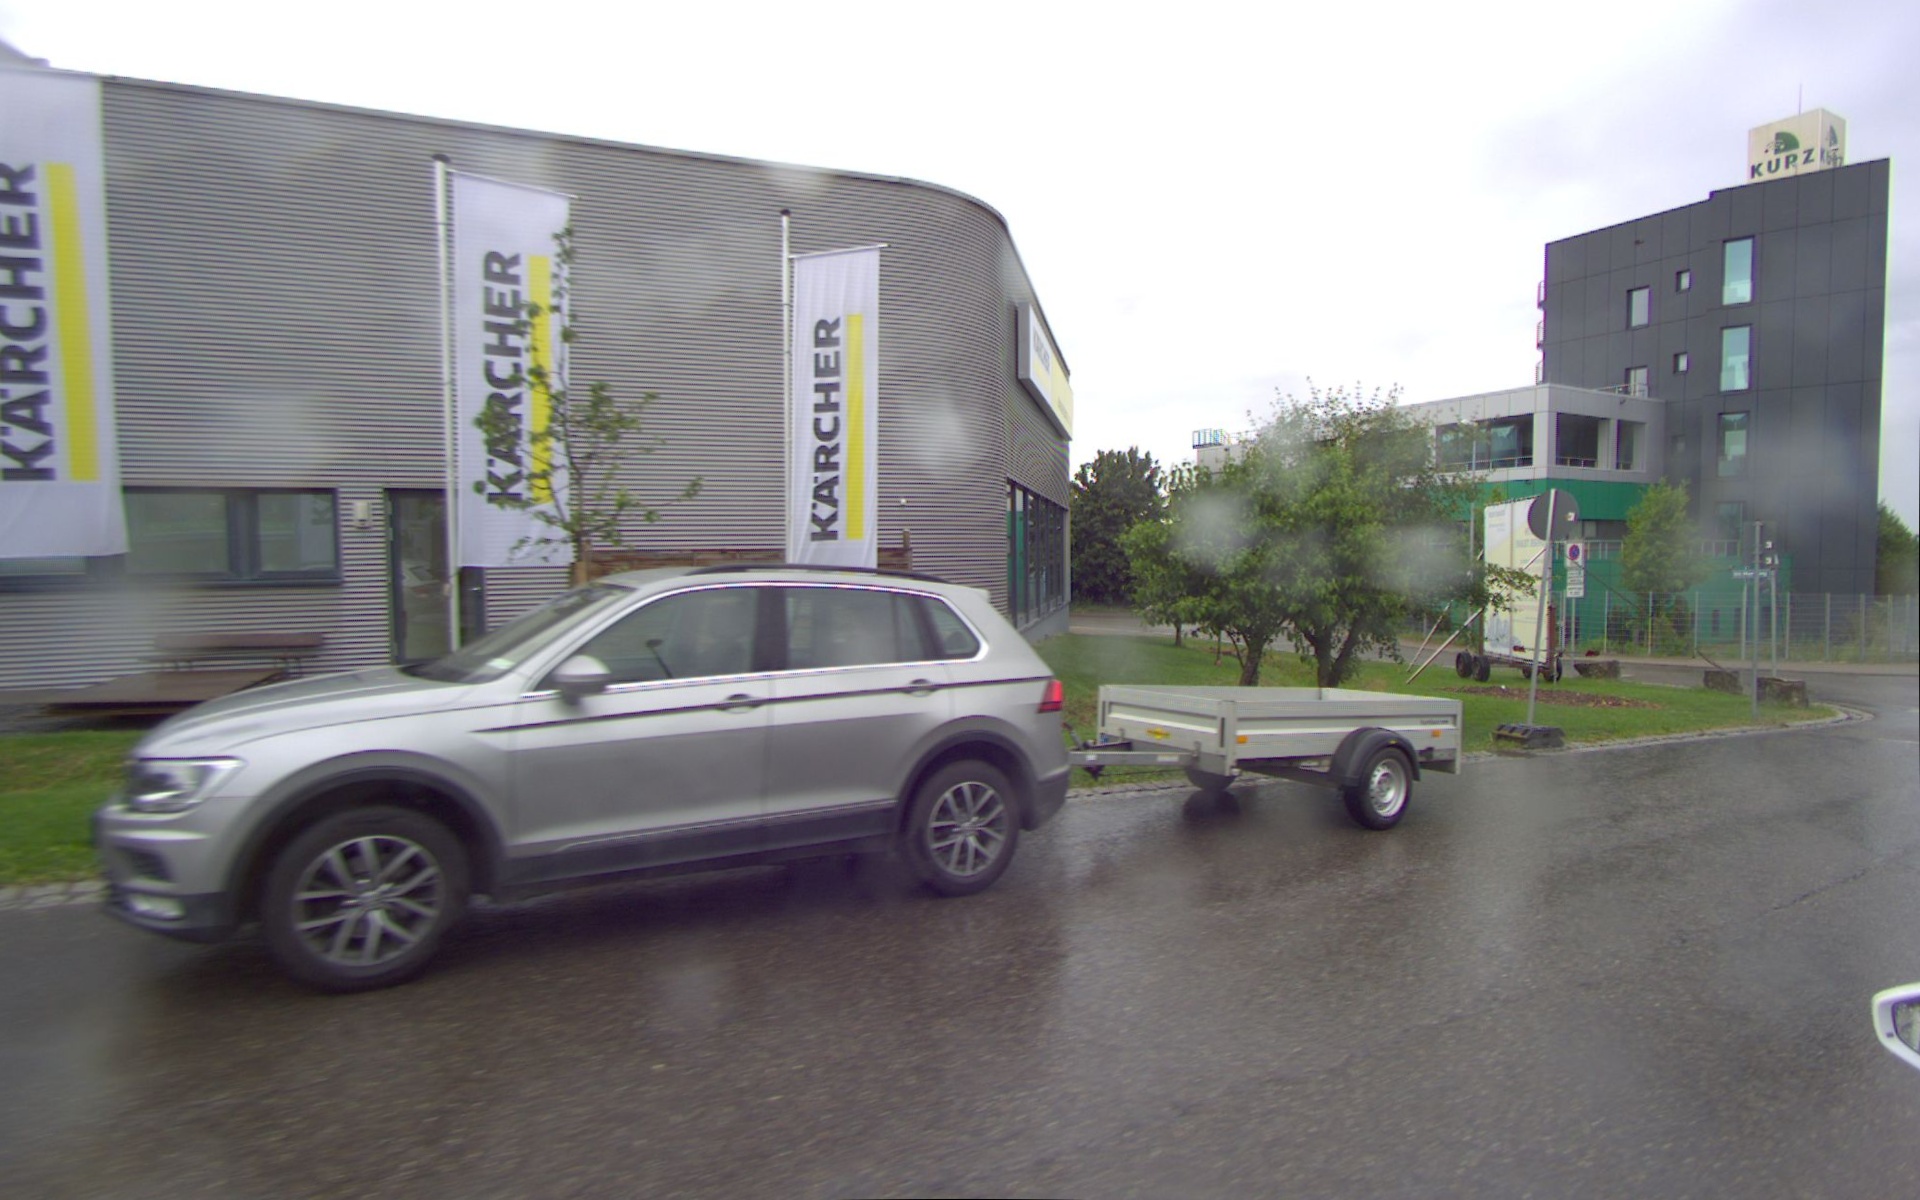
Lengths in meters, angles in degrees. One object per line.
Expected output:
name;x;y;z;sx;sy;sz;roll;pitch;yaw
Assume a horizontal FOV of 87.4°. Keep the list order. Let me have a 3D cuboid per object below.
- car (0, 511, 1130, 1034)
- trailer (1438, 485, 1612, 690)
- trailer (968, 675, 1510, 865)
car;-1.585;0.604;5.128;4.789;1.597;1.946;2;-1;-33
trailer;12.851;-0.251;23.173;1.965;4.259;4.189;1;0;7
trailer;2.130;1.076;7.334;3.855;0.900;1.670;2;0;-33
